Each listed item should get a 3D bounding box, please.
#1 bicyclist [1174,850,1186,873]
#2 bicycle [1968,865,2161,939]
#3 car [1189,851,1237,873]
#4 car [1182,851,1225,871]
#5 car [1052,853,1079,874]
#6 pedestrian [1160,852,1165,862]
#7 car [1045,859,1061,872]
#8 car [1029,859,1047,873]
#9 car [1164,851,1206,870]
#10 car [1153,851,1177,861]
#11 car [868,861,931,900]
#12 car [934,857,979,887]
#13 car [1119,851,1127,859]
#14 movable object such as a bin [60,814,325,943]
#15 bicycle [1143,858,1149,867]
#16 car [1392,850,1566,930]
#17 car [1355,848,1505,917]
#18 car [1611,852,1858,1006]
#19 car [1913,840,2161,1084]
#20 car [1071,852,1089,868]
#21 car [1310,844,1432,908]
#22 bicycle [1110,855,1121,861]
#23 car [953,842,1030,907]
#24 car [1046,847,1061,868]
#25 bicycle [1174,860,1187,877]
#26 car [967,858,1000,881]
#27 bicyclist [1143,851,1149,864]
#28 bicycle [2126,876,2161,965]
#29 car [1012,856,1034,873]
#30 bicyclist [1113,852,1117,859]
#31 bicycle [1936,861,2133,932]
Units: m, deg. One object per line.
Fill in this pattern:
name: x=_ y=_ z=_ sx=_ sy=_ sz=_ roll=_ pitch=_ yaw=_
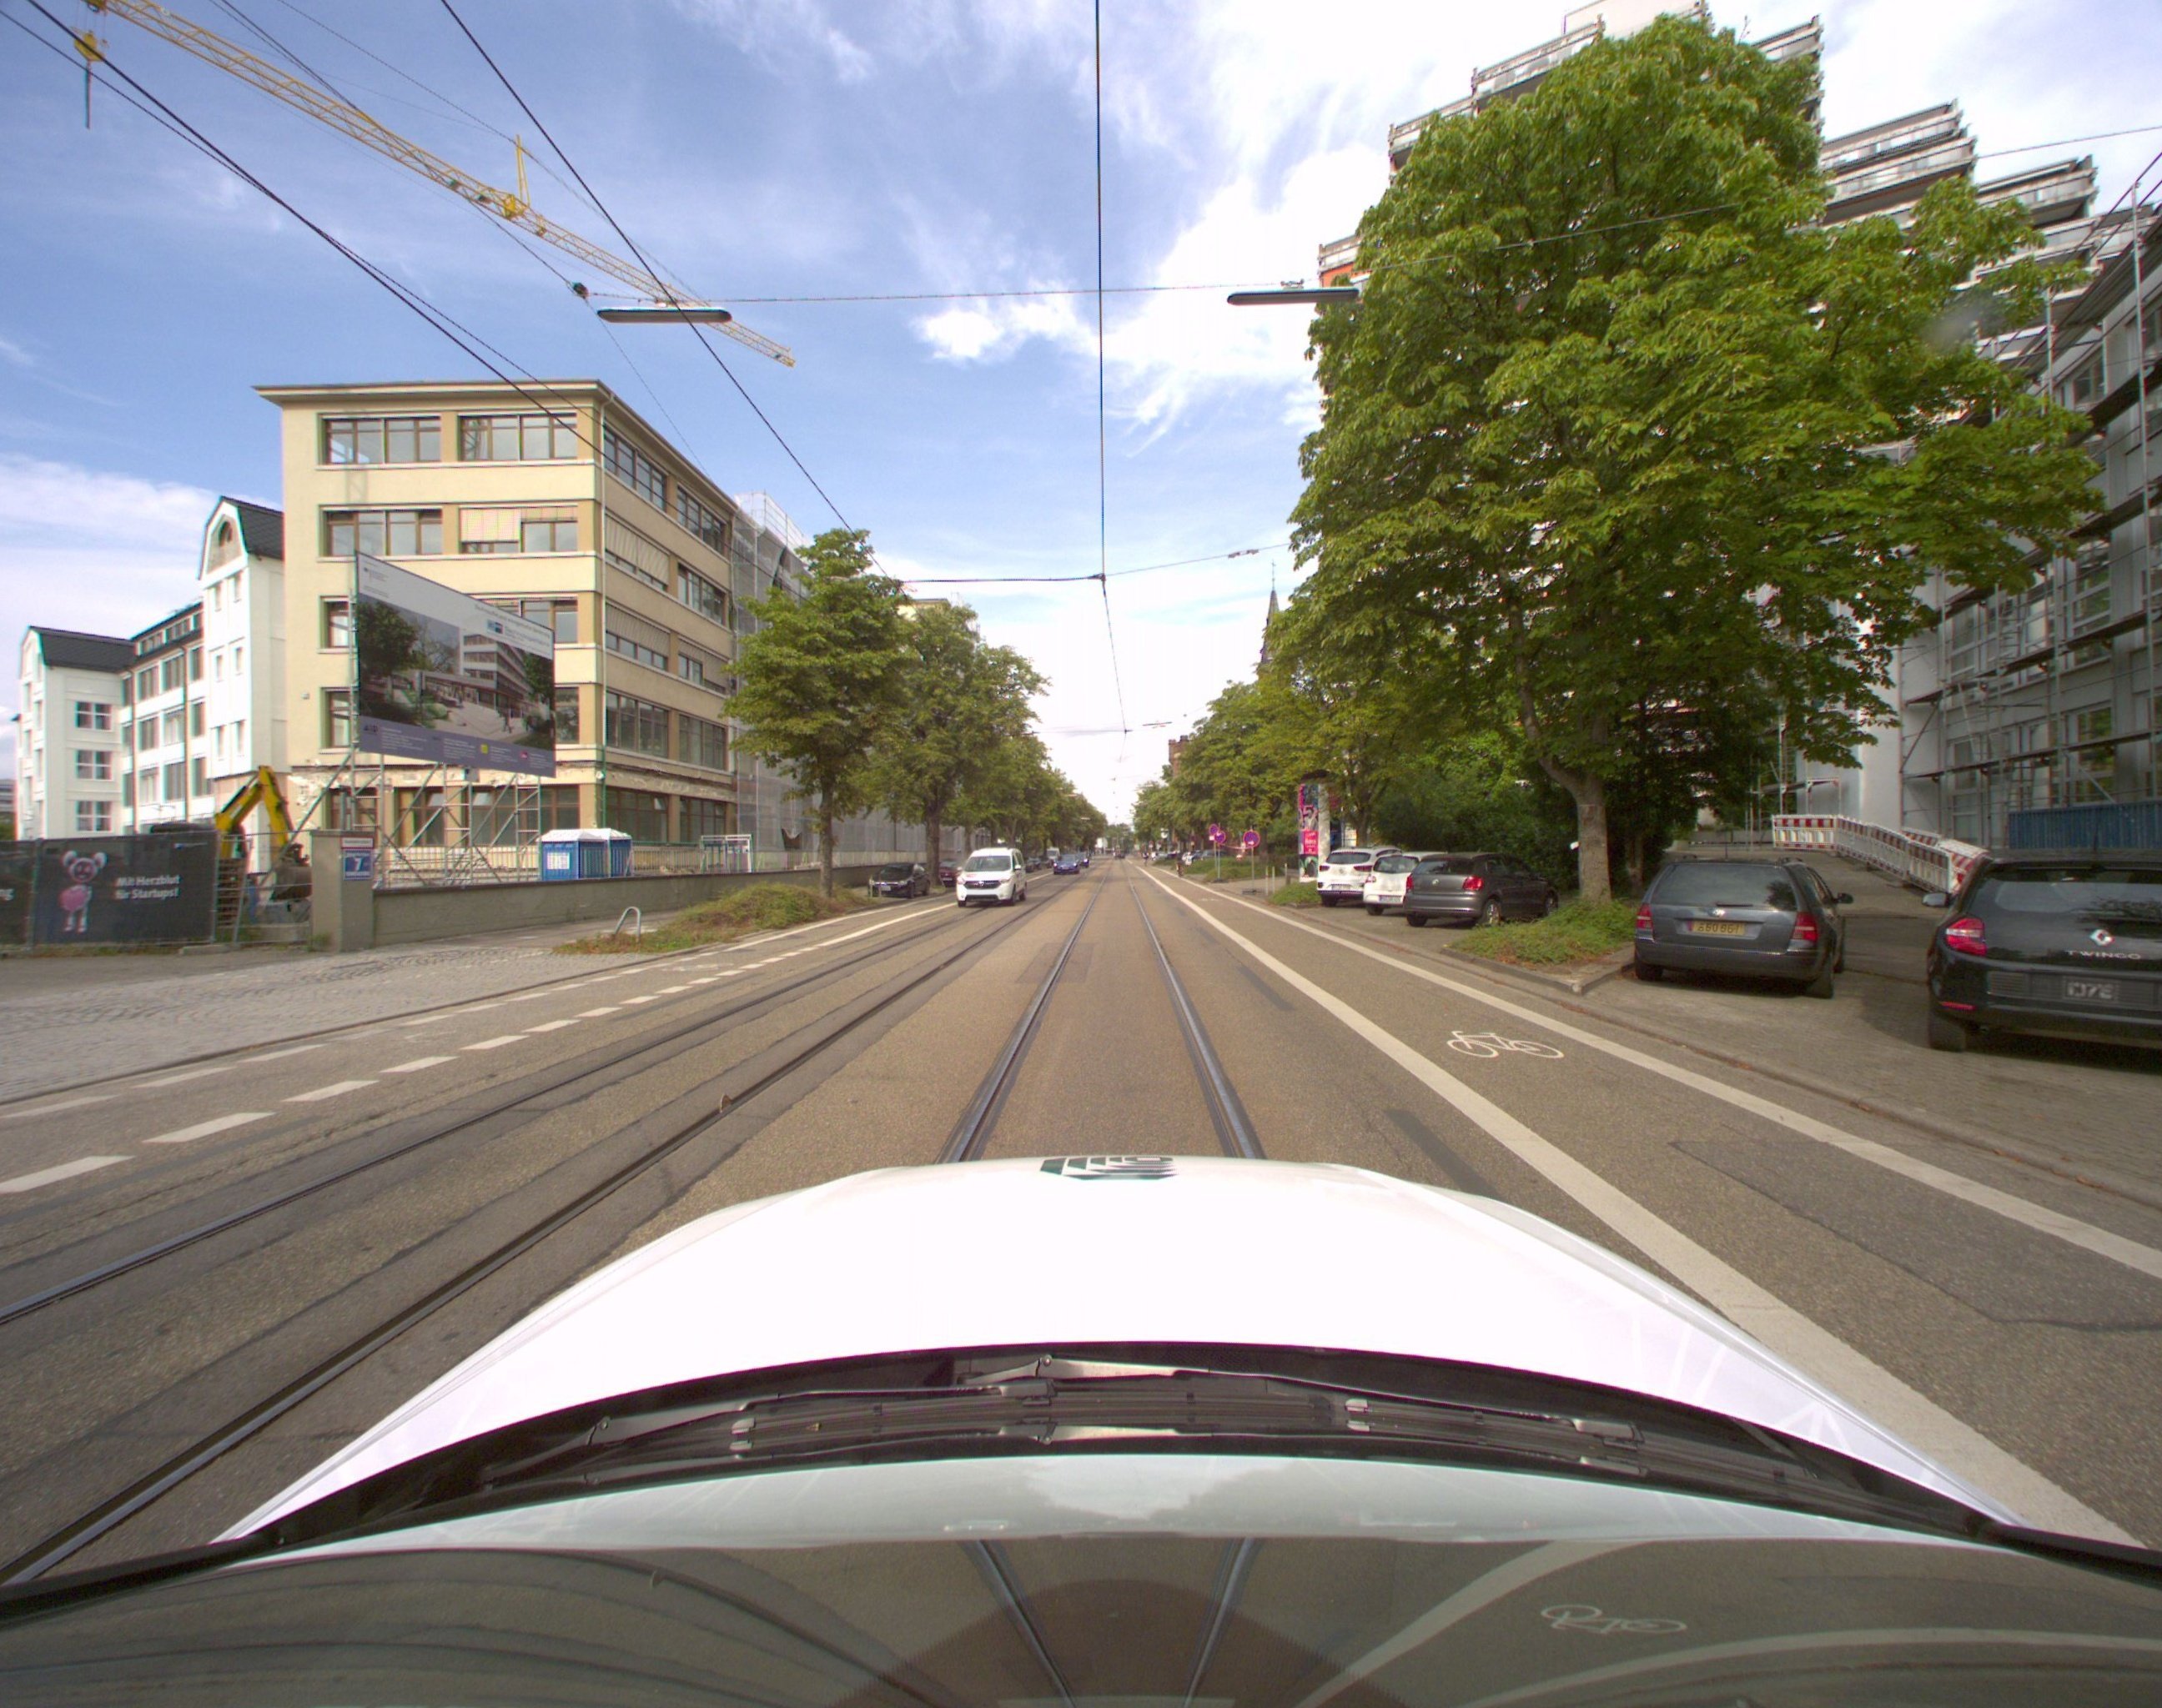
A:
bicyclist: x=6.143 y=0.462 z=50.515 sx=0.591 sy=1.459 sz=0.875 roll=-1 pitch=0 yaw=0
bicycle: x=14.755 y=0.687 z=12.162 sx=1.952 sy=1.043 sz=0.598 roll=-1 pitch=0 yaw=30
car: x=10.000 y=0.593 z=61.514 sx=3.667 sy=1.602 sz=1.661 roll=0 pitch=-1 yaw=-43
car: x=10.319 y=0.593 z=68.309 sx=3.667 sy=1.602 sz=1.661 roll=0 pitch=-1 yaw=-43
car: x=-1.116 y=0.671 z=61.470 sx=1.725 sy=1.496 sz=4.381 roll=-1 pitch=0 yaw=2
pedestrian: x=14.466 y=0.598 z=144.487 sx=0.742 sy=1.790 sz=0.734 roll=-1 pitch=-1 yaw=17
car: x=-3.175 y=1.266 z=93.394 sx=1.585 sy=1.402 sz=3.962 roll=0 pitch=0 yaw=0
car: x=-4.375 y=1.192 z=83.222 sx=1.585 sy=1.402 sz=3.962 roll=0 pitch=0 yaw=0
car: x=9.008 y=0.543 z=70.490 sx=3.667 sy=1.602 sz=1.661 roll=0 pitch=-1 yaw=-43
car: x=14.857 y=0.384 z=144.624 sx=3.978 sy=1.693 sz=1.998 roll=-1 pitch=0 yaw=-3
car: x=-7.168 y=1.019 z=32.563 sx=1.585 sy=1.402 sz=3.962 roll=0 pitch=0 yaw=0
car: x=-6.549 y=0.945 z=43.216 sx=1.629 sy=1.496 sz=3.964 roll=0 pitch=0 yaw=2
car: x=10.517 y=0.283 z=204.500 sx=1.788 sy=1.824 sz=4.680 roll=0 pitch=0 yaw=2
movable object such as a bin: x=-18.348 y=0.497 z=16.959 sx=3.030 sy=2.443 sz=2.506 roll=-1 pitch=-1 yaw=12
bicycle: x=7.515 y=0.936 z=93.789 sx=0.661 sy=1.043 sz=1.842 roll=-1 pitch=0 yaw=3
car: x=8.029 y=0.641 z=16.341 sx=3.663 sy=1.419 sz=1.663 roll=0 pitch=-1 yaw=-37
car: x=8.299 y=0.624 z=19.264 sx=3.663 sy=1.474 sz=1.663 roll=0 pitch=-1 yaw=-37
car: x=7.887 y=0.704 z=9.677 sx=4.194 sy=1.415 sz=1.794 roll=0 pitch=-1 yaw=-45
car: x=7.892 y=0.668 z=6.489 sx=3.436 sy=1.537 sz=1.577 roll=-1 pitch=0 yaw=-41
car: x=-0.089 y=0.639 z=86.476 sx=1.726 sy=1.628 sz=4.380 roll=-2 pitch=0 yaw=2
car: x=8.055 y=0.562 z=22.489 sx=3.667 sy=1.602 sz=1.661 roll=0 pitch=-1 yaw=-43
bicycle: x=7.108 y=0.852 z=168.616 sx=2.260 sy=1.189 sz=0.771 roll=-1 pitch=0 yaw=10
car: x=-2.735 y=0.594 z=25.862 sx=1.725 sy=1.884 sz=4.382 roll=-1 pitch=0 yaw=3
car: x=-3.581 y=0.460 z=106.775 sx=1.715 sy=2.704 sz=5.470 roll=0 pitch=0 yaw=0
bicycle: x=6.143 y=0.888 z=50.513 sx=0.591 sy=1.043 sz=1.978 roll=-1 pitch=0 yaw=0
car: x=-6.234 y=0.952 z=52.416 sx=1.585 sy=1.402 sz=3.962 roll=0 pitch=0 yaw=0
bicyclist: x=7.517 y=0.448 z=93.826 sx=0.656 sy=1.496 sz=0.930 roll=-1 pitch=0 yaw=3
bicycle: x=13.619 y=0.775 z=9.424 sx=1.817 sy=1.043 sz=0.456 roll=-2 pitch=-1 yaw=31
car: x=-5.174 y=0.923 z=73.016 sx=1.585 sy=1.402 sz=3.962 roll=0 pitch=0 yaw=0
bicyclist: x=7.008 y=0.323 z=168.637 sx=0.841 sy=1.504 sz=0.771 roll=-1 pitch=0 yaw=10
bicycle: x=15.120 y=0.643 z=12.997 sx=1.952 sy=1.043 sz=0.598 roll=0 pitch=0 yaw=39
